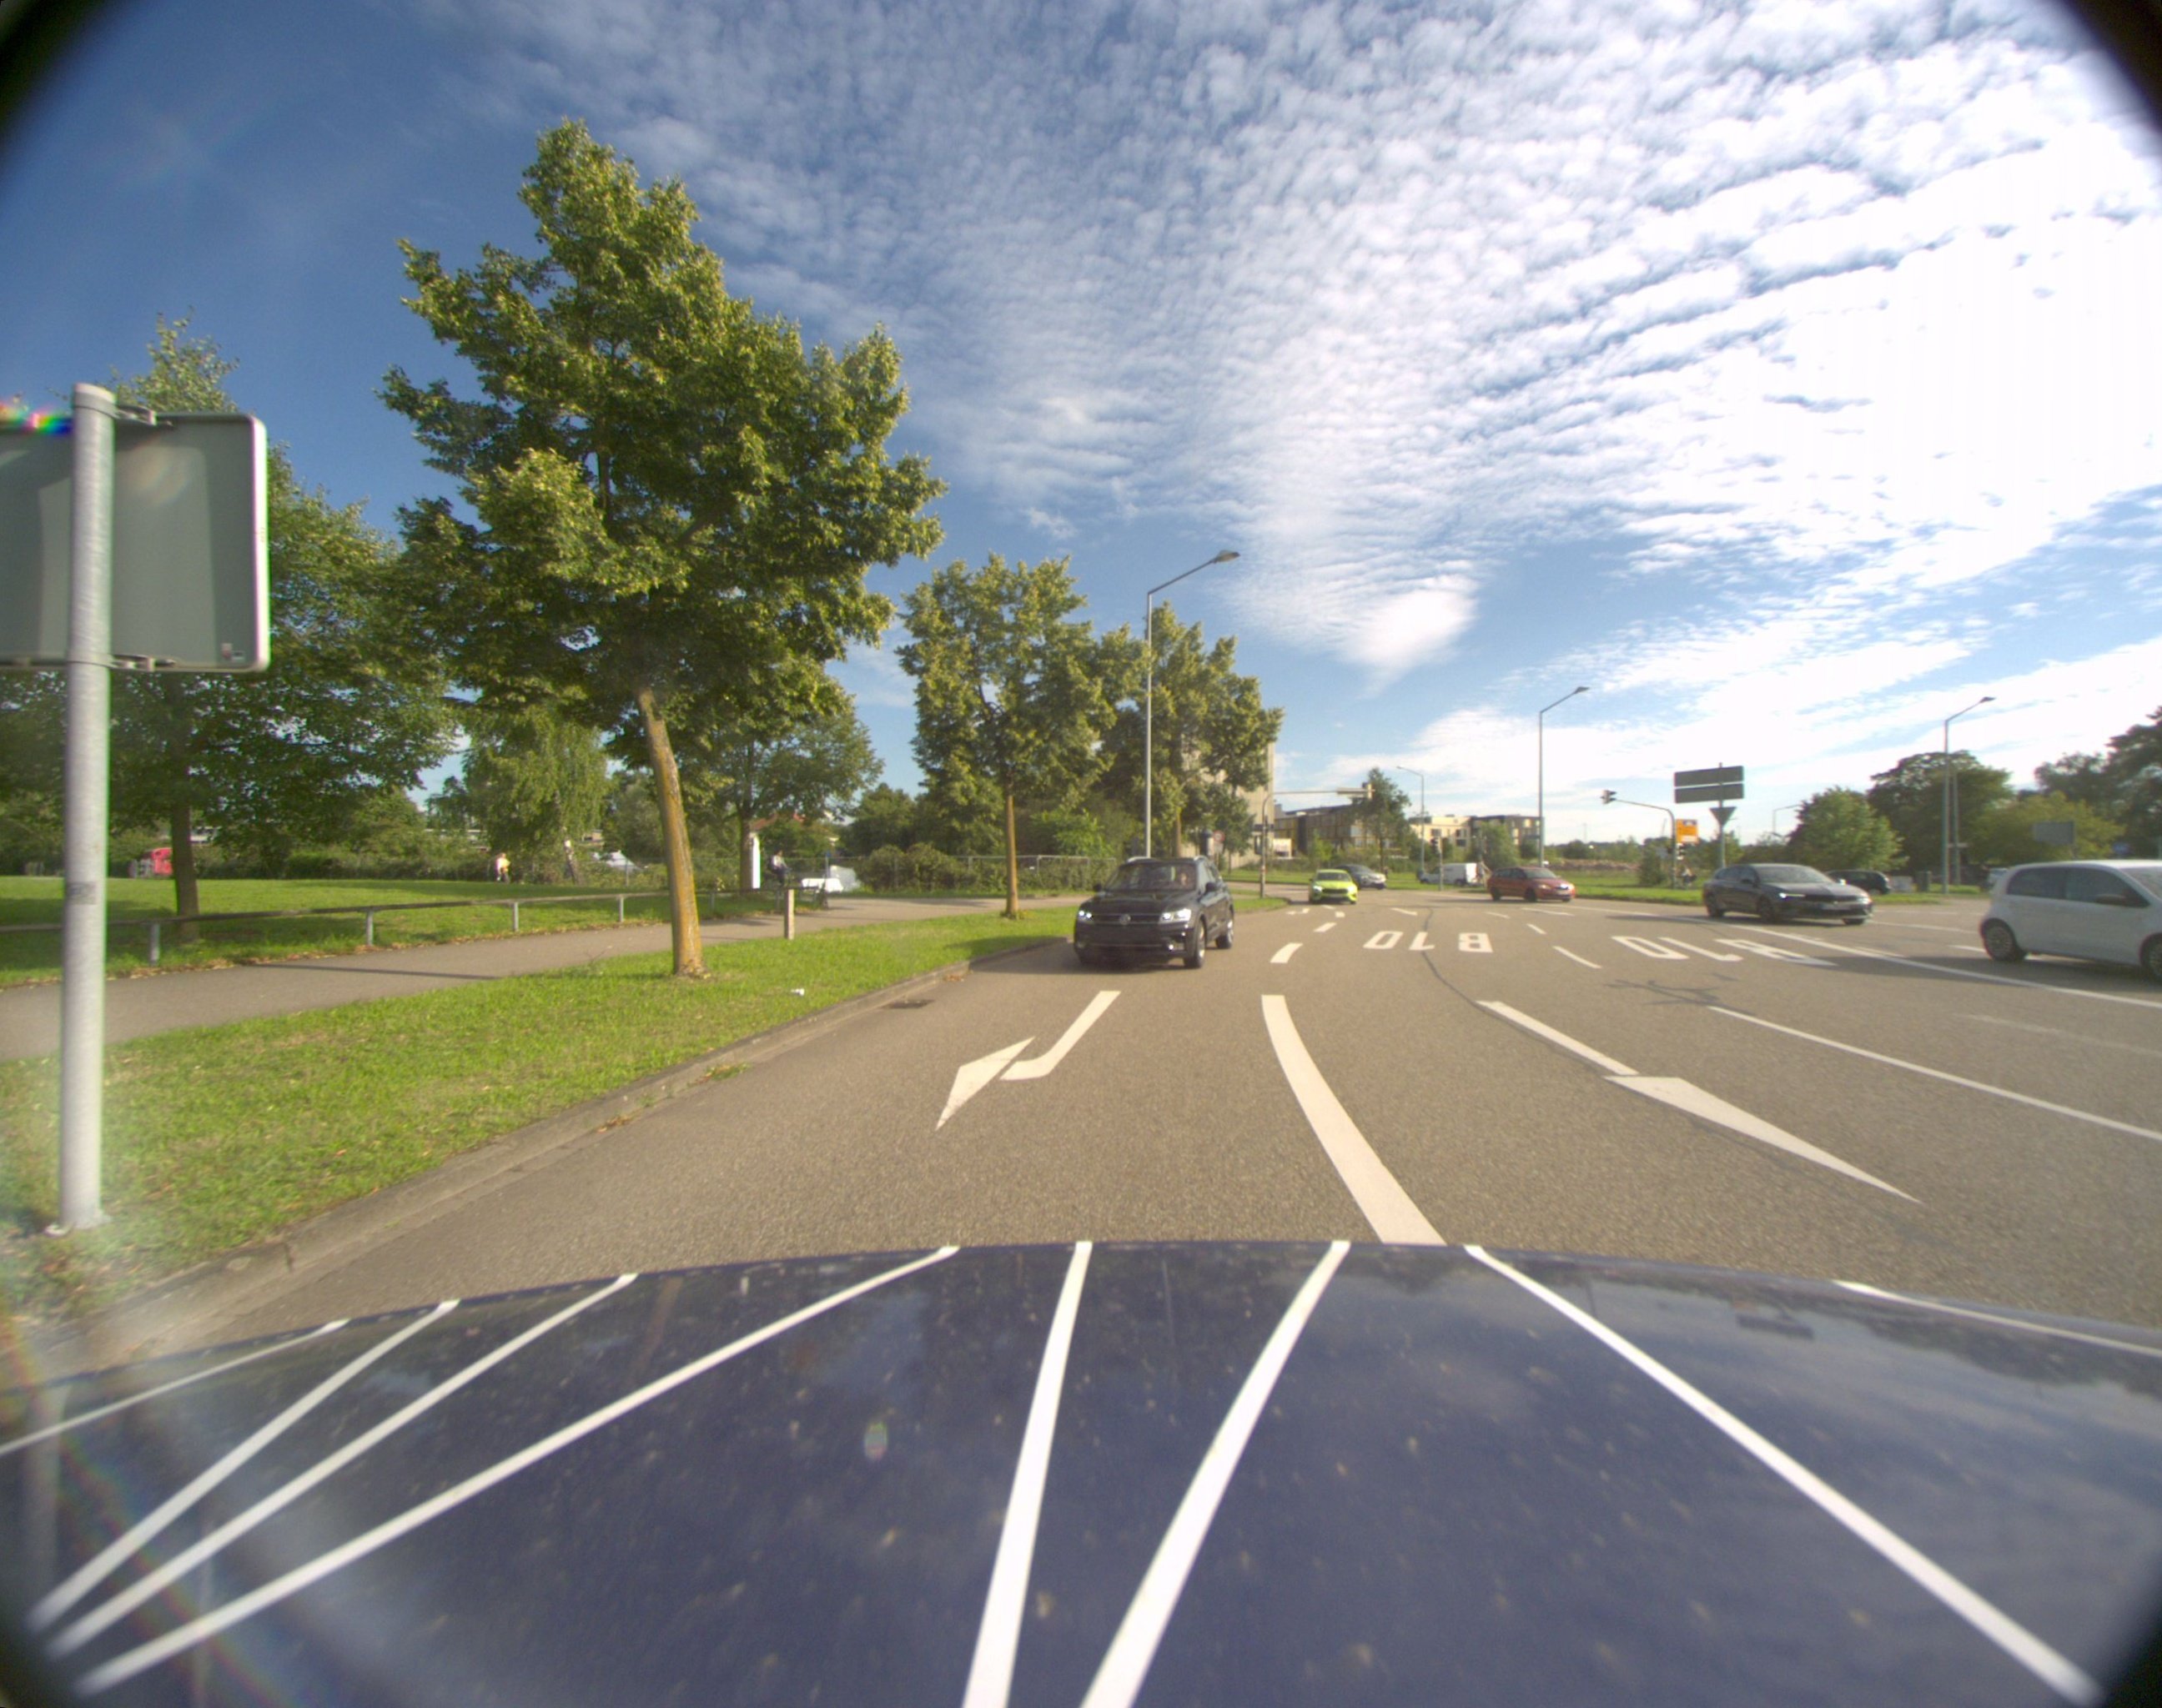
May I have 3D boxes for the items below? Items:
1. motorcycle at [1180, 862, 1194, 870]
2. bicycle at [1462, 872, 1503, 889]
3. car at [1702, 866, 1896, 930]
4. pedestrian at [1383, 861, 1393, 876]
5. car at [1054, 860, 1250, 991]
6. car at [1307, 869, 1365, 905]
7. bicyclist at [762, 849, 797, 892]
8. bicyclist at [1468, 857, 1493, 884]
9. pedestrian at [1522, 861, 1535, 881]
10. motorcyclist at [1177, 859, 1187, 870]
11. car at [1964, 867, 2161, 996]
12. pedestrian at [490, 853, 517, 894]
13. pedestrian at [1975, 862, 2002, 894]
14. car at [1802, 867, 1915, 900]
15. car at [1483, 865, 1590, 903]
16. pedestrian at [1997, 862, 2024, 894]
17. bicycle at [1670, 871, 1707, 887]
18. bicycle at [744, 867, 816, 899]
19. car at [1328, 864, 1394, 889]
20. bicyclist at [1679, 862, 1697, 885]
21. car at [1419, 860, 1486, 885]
[{"bbox_3d":[13.018,1.444,93.498,0.785,0.980,2.020,1,0,-24],"label":"motorcycle"},{"bbox_3d":[23.728,1.558,44.964,1.962,1.001,1.001,0,0,-13],"label":"bicycle"},{"bbox_3d":[17.815,1.036,19.170,1.820,1.412,4.454,-1,-1,18],"label":"car"},{"bbox_3d":[32.178,1.533,79.599,0.629,1.499,0.755,-3,1,-20],"label":"pedestrian"},{"bbox_3d":[1.444,0.966,12.728,1.868,1.685,5.023,0,0,22],"label":"car"},{"bbox_3d":[11.078,1.394,33.228,1.894,1.412,4.612,-1,0,12],"label":"car"},{"bbox_3d":[-11.161,0.601,28.141,0.903,1.538,0.805,1,0,22],"label":"bicyclist"},{"bbox_3d":[23.642,0.966,44.945,0.866,1.546,0.996,0,0,-13],"label":"bicyclist"},{"bbox_3d":[36.915,1.428,62.651,0.629,1.620,0.657,-1,0,-15],"label":"pedestrian"},{"bbox_3d":[12.554,1.256,94.493,0.785,1.358,0.942,0,0,-19],"label":"motorcyclist"},{"bbox_3d":[13.584,0.902,9.492,1.763,1.455,3.666,-1,-1,20],"label":"car"},{"bbox_3d":[-24.462,0.824,32.181,0.596,1.722,0.668,0,1,10],"label":"pedestrian"},{"bbox_3d":[55.485,1.459,46.444,0.898,1.905,0.864,-2,1,-28],"label":"pedestrian"},{"bbox_3d":[39.930,1.500,39.138,3.982,1.492,1.690,1,-2,44],"label":"car"},{"bbox_3d":[19.141,1.202,32.180,1.694,1.466,4.225,-1,0,-6],"label":"car"},{"bbox_3d":[56.107,1.444,45.866,0.898,1.905,0.864,-2,1,-28],"label":"pedestrian"},{"bbox_3d":[38.857,1.616,48.613,1.836,0.982,0.611,0,0,2],"label":"bicycle"},{"bbox_3d":[-11.157,1.052,28.142,2.595,1.119,0.805,0,0,21],"label":"bicycle"},{"bbox_3d":[17.570,1.387,47.868,1.696,1.466,4.220,0,0,-16],"label":"car"},{"bbox_3d":[38.830,1.241,48.604,0.697,1.437,0.611,1,0,1],"label":"bicyclist"},{"bbox_3d":[28.356,1.375,58.129,1.688,1.814,4.552,2,-1,-25],"label":"car"}]
